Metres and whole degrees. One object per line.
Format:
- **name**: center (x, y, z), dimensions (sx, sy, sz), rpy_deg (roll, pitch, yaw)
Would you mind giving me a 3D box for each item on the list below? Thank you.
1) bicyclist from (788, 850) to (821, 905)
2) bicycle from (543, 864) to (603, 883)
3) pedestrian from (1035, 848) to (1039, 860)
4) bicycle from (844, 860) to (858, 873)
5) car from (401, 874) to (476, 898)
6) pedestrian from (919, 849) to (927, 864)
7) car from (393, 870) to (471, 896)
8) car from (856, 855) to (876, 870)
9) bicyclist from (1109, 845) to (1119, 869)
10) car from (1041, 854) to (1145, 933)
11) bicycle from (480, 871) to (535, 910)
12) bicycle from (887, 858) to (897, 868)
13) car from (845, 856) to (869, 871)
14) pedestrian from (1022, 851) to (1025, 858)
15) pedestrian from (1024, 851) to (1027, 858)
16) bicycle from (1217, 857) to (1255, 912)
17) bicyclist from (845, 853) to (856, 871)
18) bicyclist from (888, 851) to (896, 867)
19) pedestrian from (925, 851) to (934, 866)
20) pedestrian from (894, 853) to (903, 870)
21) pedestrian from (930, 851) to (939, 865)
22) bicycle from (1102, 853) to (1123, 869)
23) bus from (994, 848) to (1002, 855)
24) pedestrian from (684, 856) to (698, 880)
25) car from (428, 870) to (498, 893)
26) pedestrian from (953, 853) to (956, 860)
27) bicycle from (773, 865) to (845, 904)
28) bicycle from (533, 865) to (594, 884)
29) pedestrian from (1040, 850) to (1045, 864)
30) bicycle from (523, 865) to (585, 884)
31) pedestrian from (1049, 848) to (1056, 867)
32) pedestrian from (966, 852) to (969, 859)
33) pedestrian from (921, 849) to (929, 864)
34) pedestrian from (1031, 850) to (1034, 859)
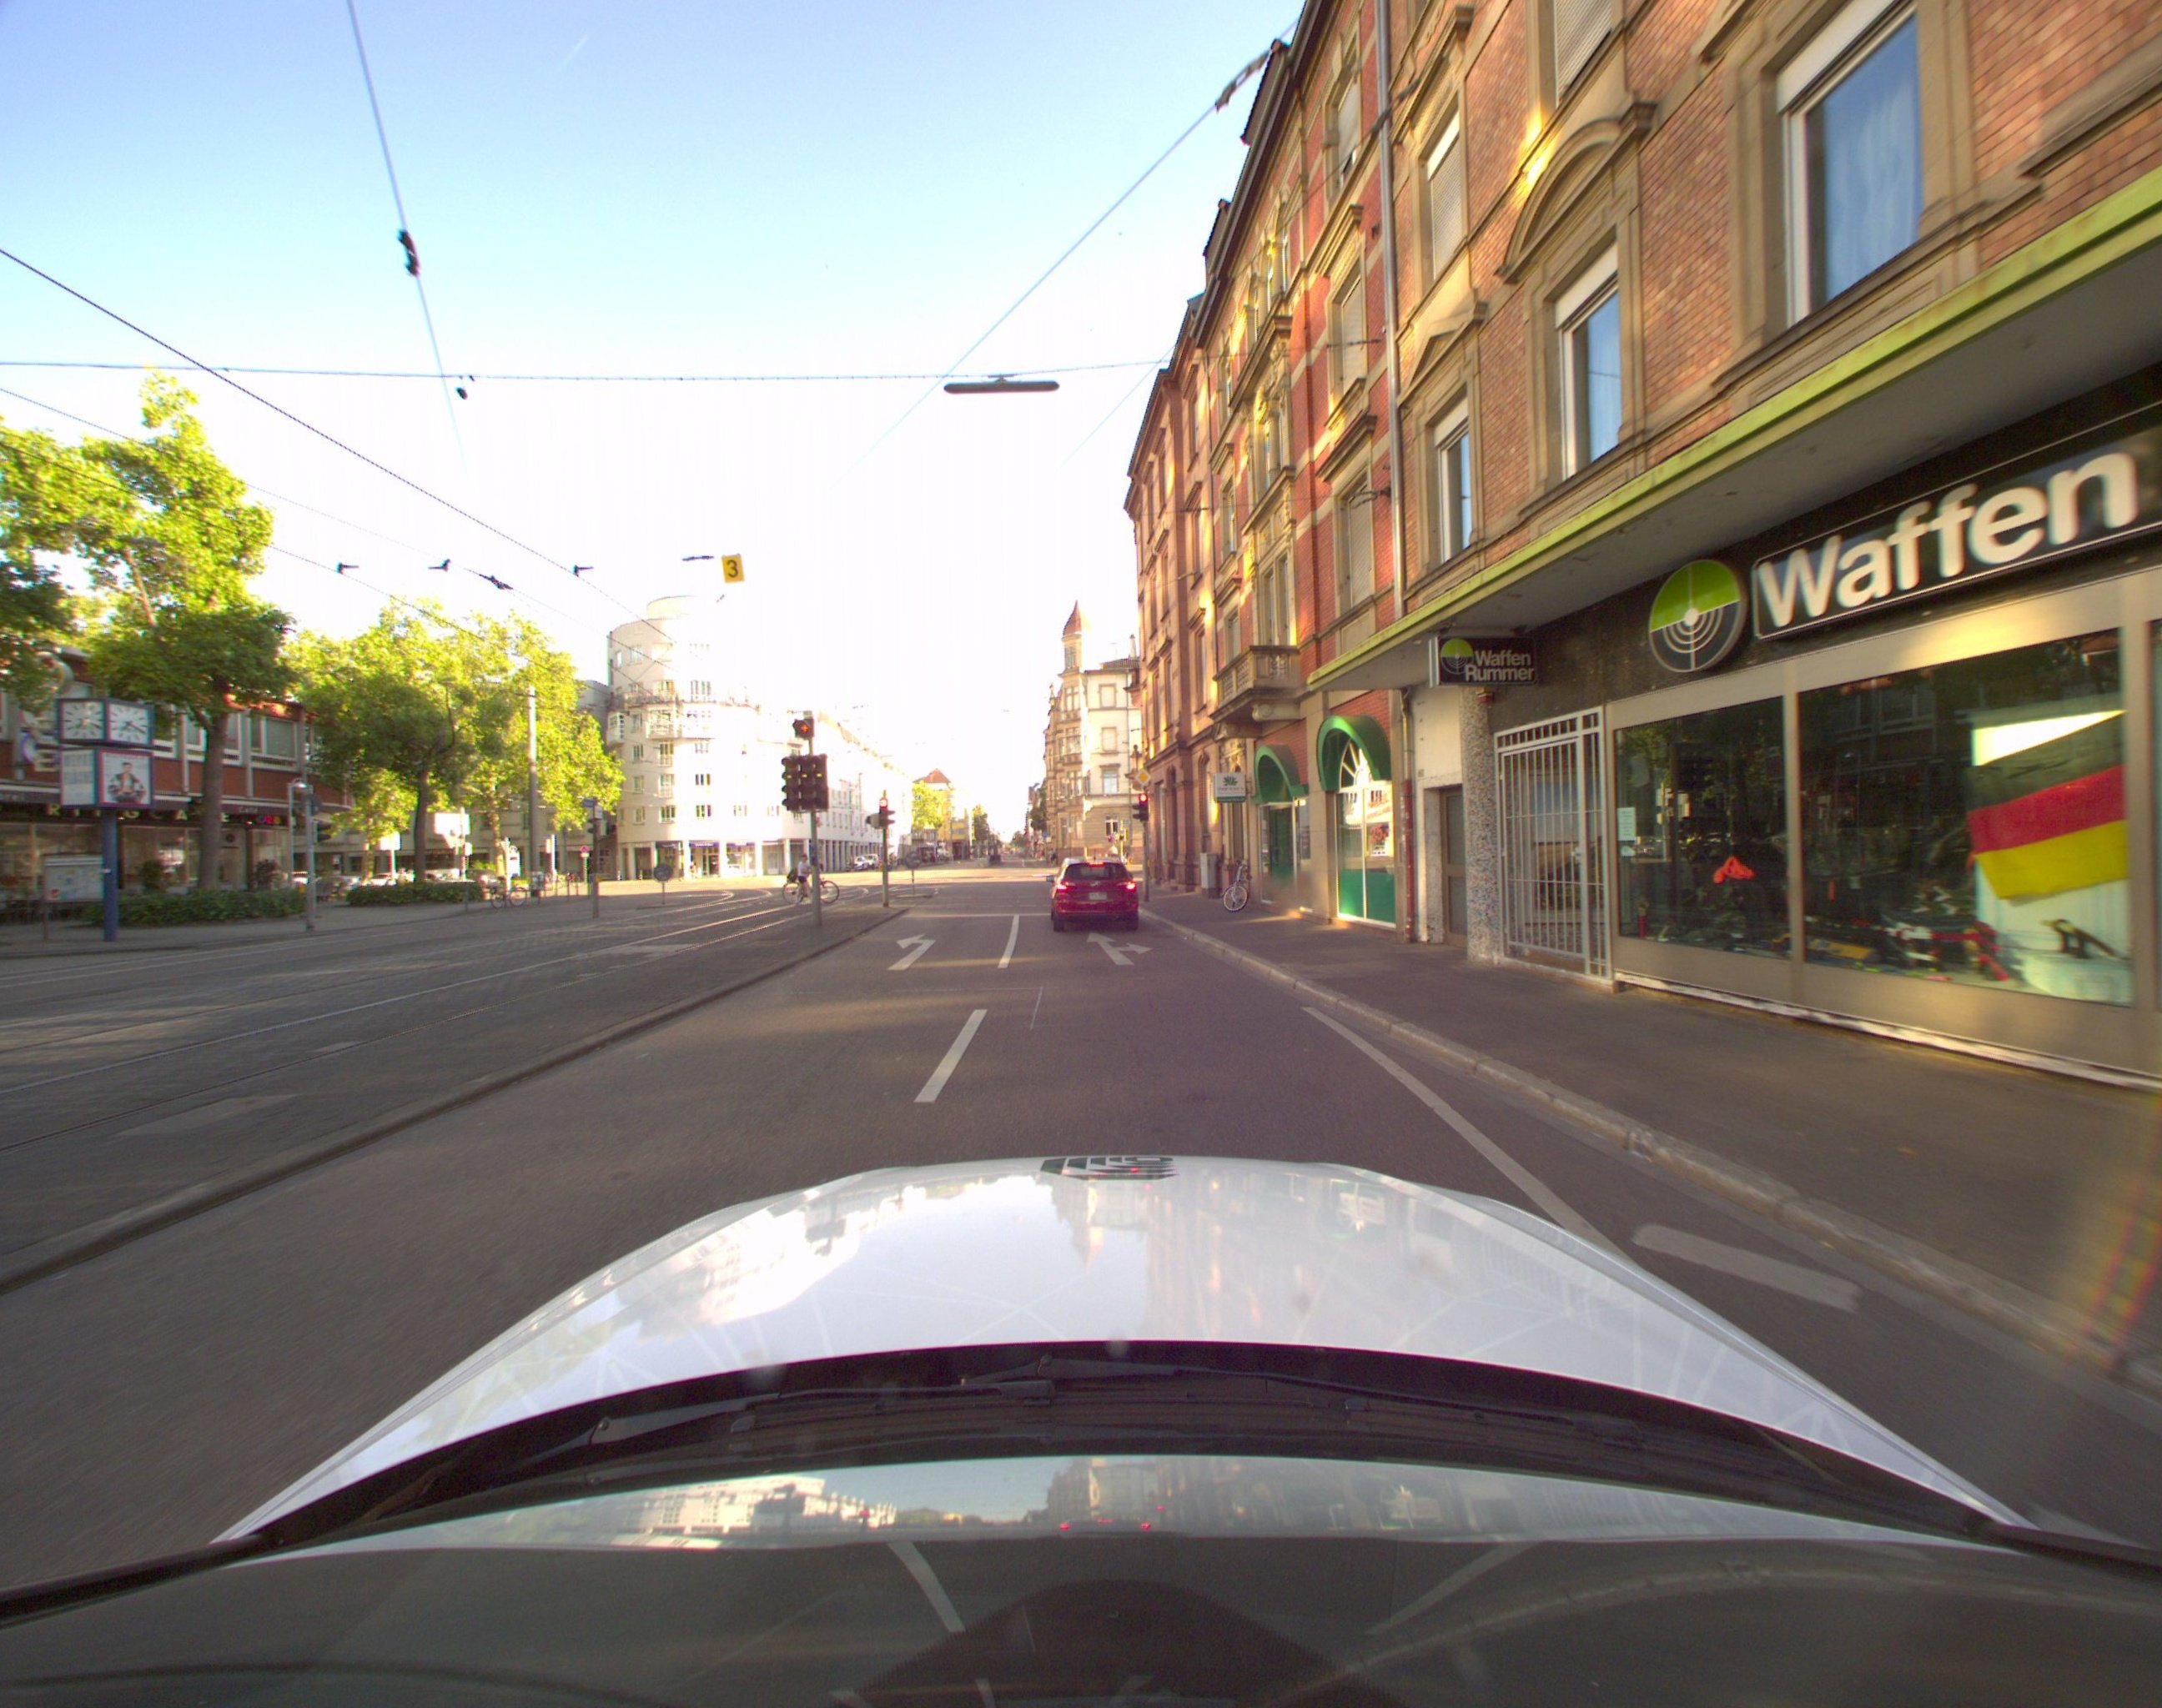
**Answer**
- **bicyclist**: center (-8.515, 0.715, 25.078), dimensions (0.728, 1.627, 0.765), rpy_deg (-1, -1, -2)
- **bicycle**: center (-46.694, 1.812, 74.864), dimensions (4.690, 1.530, 1.066), rpy_deg (-2, 0, -2)
- **pedestrian**: center (-7.337, 0.061, 135.400), dimensions (0.575, 2.013, 0.631), rpy_deg (-2, 0, 1)
- **bicycle**: center (-21.514, 1.184, 76.141), dimensions (0.806, 1.147, 2.046), rpy_deg (-2, 0, -5)
- **car**: center (-39.197, 1.948, 49.688), dimensions (3.970, 1.295, 1.780), rpy_deg (-2, 0, 21)
- **pedestrian**: center (-22.029, 0.325, 113.588), dimensions (1.044, 2.013, 0.957), rpy_deg (-2, 0, -7)
- **car**: center (-42.777, 1.896, 53.701), dimensions (3.982, 1.559, 1.634), rpy_deg (-2, 0, 8)
- **car**: center (-25.766, 1.003, 97.653), dimensions (1.698, 1.718, 3.558), rpy_deg (-2, 0, -5)
- **bicyclist**: center (2.403, 0.217, 59.487), dimensions (0.538, 1.676, 0.504), rpy_deg (-2, 0, 38)
- **car**: center (0.138, 0.747, 17.416), dimensions (1.752, 1.466, 3.936), rpy_deg (0, 0, -6)
- **bicycle**: center (-20.729, 1.292, 29.479), dimensions (0.669, 1.327, 1.905), rpy_deg (1, 0, -2)
- **bicycle**: center (-22.640, 1.045, 97.769), dimensions (0.806, 1.147, 2.007), rpy_deg (-2, 0, -4)
- **car**: center (-24.783, 1.072, 90.242), dimensions (1.762, 1.546, 3.456), rpy_deg (-2, 0, -4)
- **pedestrian**: center (-15.225, 0.231, 215.148), dimensions (0.576, 1.887, 0.668), rpy_deg (-2, 0, -4)
- **pedestrian**: center (-14.433, 0.154, 211.266), dimensions (0.576, 1.887, 0.630), rpy_deg (-2, 0, -4)
- **bicycle**: center (3.618, 0.686, 18.958), dimensions (0.710, 1.152, 1.661), rpy_deg (-3, 0, 14)
- **bicyclist**: center (-21.532, 0.736, 76.216), dimensions (0.806, 1.726, 0.793), rpy_deg (-2, 0, -5)
- **bicyclist**: center (-22.640, 0.584, 97.515), dimensions (0.806, 1.821, 0.992), rpy_deg (-2, 0, -5)
- **pedestrian**: center (-21.637, 0.640, 116.338), dimensions (1.044, 2.013, 0.957), rpy_deg (-2, 0, -7)
- **pedestrian**: center (-18.688, 0.810, 83.546), dimensions (0.766, 1.730, 0.572), rpy_deg (-2, 0, -3)
- **pedestrian**: center (-20.444, 0.537, 113.727), dimensions (1.044, 2.013, 0.957), rpy_deg (-2, 0, -7)
- **bicycle**: center (2.278, 0.510, 59.590), dimensions (1.467, 1.089, 0.531), rpy_deg (-2, 0, 38)
- **bus**: center (-23.225, -0.673, 227.680), dimensions (1.921, 2.013, 7.129), rpy_deg (-2, 0, -3)
- **pedestrian**: center (-33.014, 1.203, 68.934), dimensions (0.950, 2.013, 0.931), rpy_deg (-2, 0, -32)
- **car**: center (-47.257, 2.075, 62.314), dimensions (3.974, 1.531, 1.616), rpy_deg (-2, 1, 0)
- **pedestrian**: center (-28.048, 0.540, 180.328), dimensions (0.522, 1.488, 0.582), rpy_deg (-2, 0, -3)
- **bicycle**: center (-8.487, 0.946, 25.495), dimensions (2.013, 1.177, 0.628), rpy_deg (-1, -1, -2)
- **bicycle**: center (-46.594, 1.804, 73.317), dimensions (4.690, 1.530, 1.066), rpy_deg (-2, 0, -2)
- **pedestrian**: center (-5.760, 0.411, 121.970), dimensions (0.645, 2.013, 0.682), rpy_deg (-1, 0, -5)
- **bicycle**: center (-46.686, 1.816, 72.173), dimensions (4.690, 1.530, 1.066), rpy_deg (-2, 0, -2)
- **pedestrian**: center (-2.972, 0.359, 85.262), dimensions (0.650, 2.013, 0.758), rpy_deg (-2, 0, -5)
- **pedestrian**: center (-28.768, 0.412, 207.116), dimensions (0.631, 1.604, 0.575), rpy_deg (-2, 0, -21)
- **pedestrian**: center (-21.347, 0.322, 111.647), dimensions (0.954, 2.013, 1.047), rpy_deg (-2, 0, -5)
- **pedestrian**: center (-10.588, 0.053, 178.134), dimensions (0.576, 2.013, 0.630), rpy_deg (-2, 0, -4)
